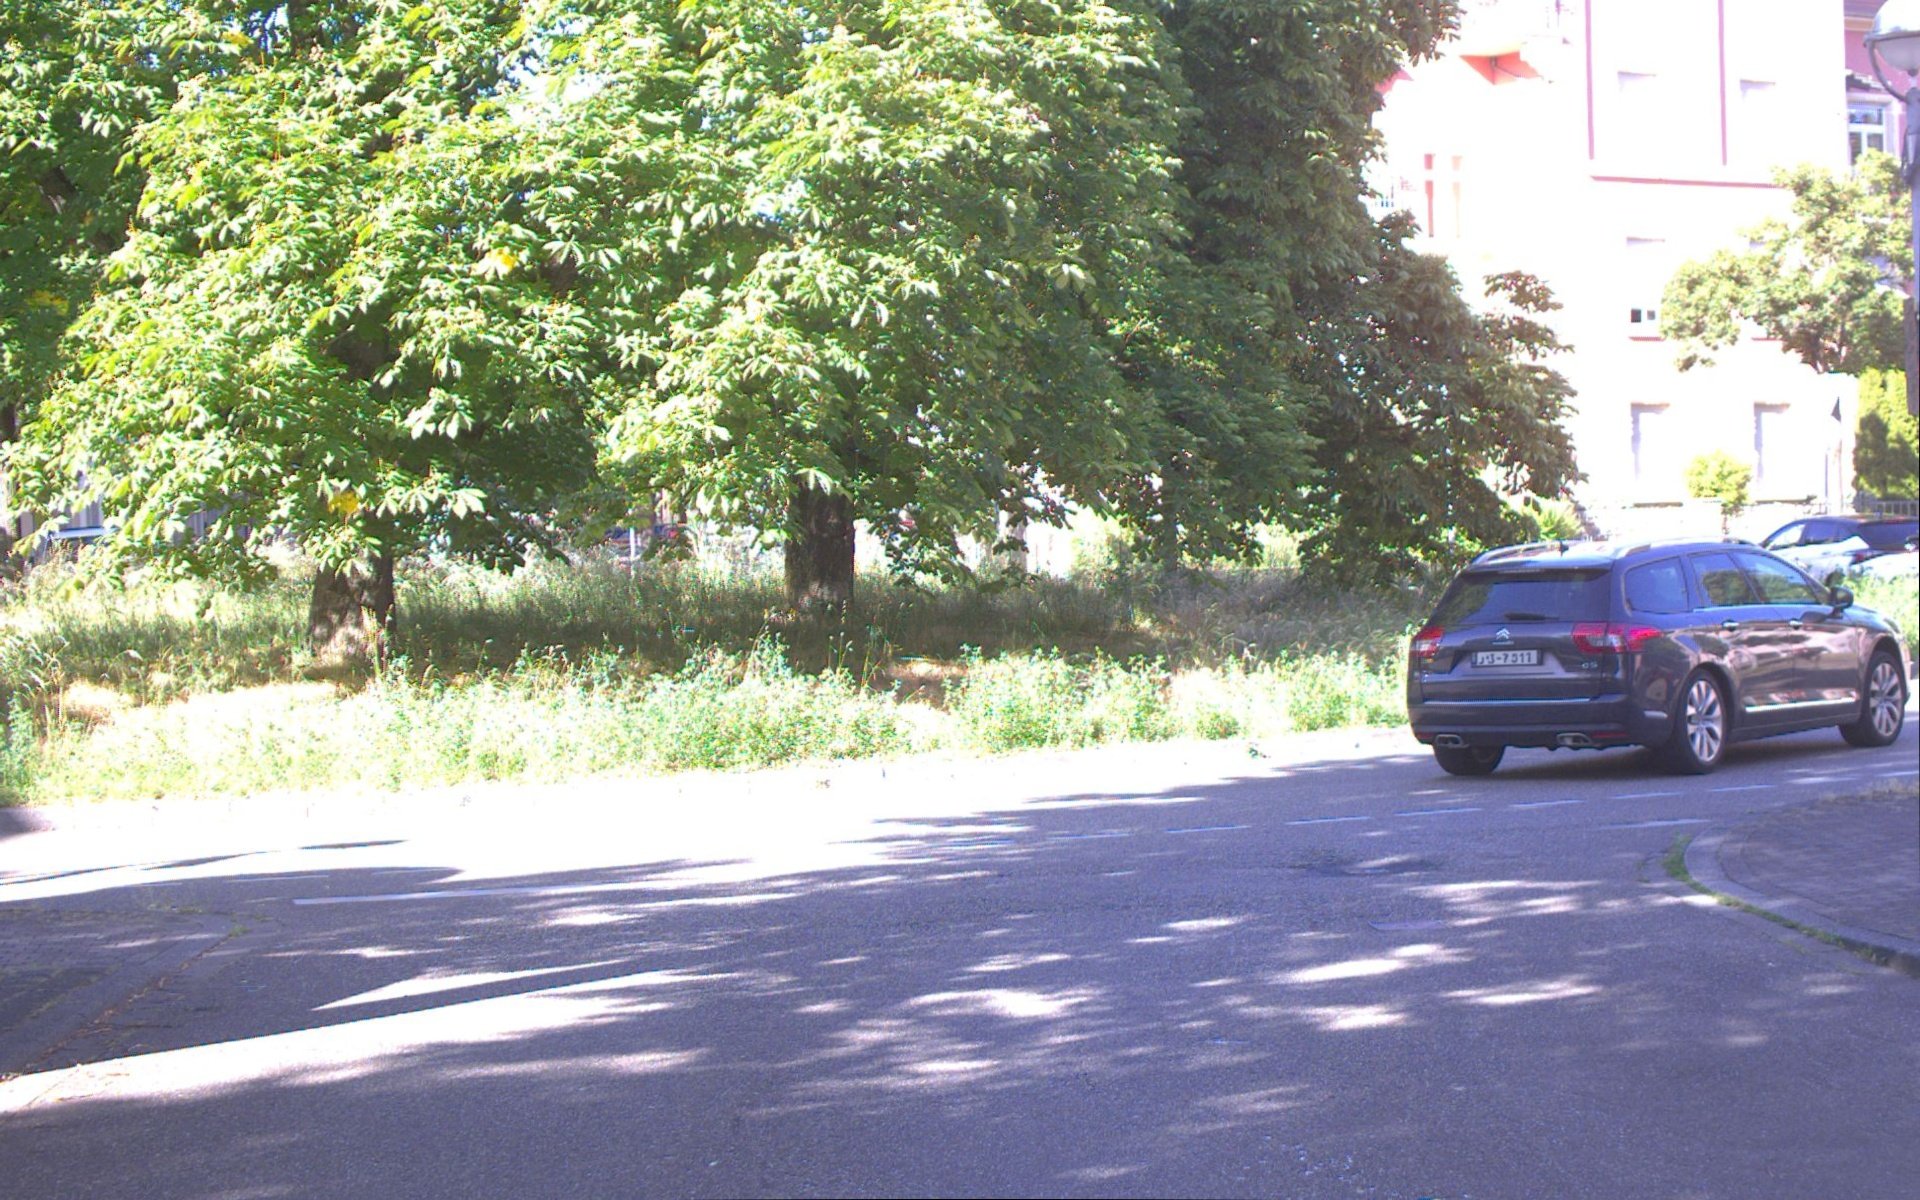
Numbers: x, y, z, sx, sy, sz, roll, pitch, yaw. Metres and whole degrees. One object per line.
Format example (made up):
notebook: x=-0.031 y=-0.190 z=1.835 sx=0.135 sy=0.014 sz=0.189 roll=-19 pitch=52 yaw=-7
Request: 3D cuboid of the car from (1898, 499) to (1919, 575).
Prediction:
car: x=19.166 y=-1.213 z=63.143 sx=3.633 sy=1.364 sz=1.760 roll=-3 pitch=2 yaw=-34

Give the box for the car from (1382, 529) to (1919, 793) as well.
car: x=4.694 y=0.340 z=22.590 sx=1.718 sy=1.478 sz=4.135 roll=-1 pitch=2 yaw=42

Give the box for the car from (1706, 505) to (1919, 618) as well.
car: x=12.692 y=-0.539 z=49.833 sx=1.714 sy=1.558 sz=3.772 roll=-1 pitch=0 yaw=-24
